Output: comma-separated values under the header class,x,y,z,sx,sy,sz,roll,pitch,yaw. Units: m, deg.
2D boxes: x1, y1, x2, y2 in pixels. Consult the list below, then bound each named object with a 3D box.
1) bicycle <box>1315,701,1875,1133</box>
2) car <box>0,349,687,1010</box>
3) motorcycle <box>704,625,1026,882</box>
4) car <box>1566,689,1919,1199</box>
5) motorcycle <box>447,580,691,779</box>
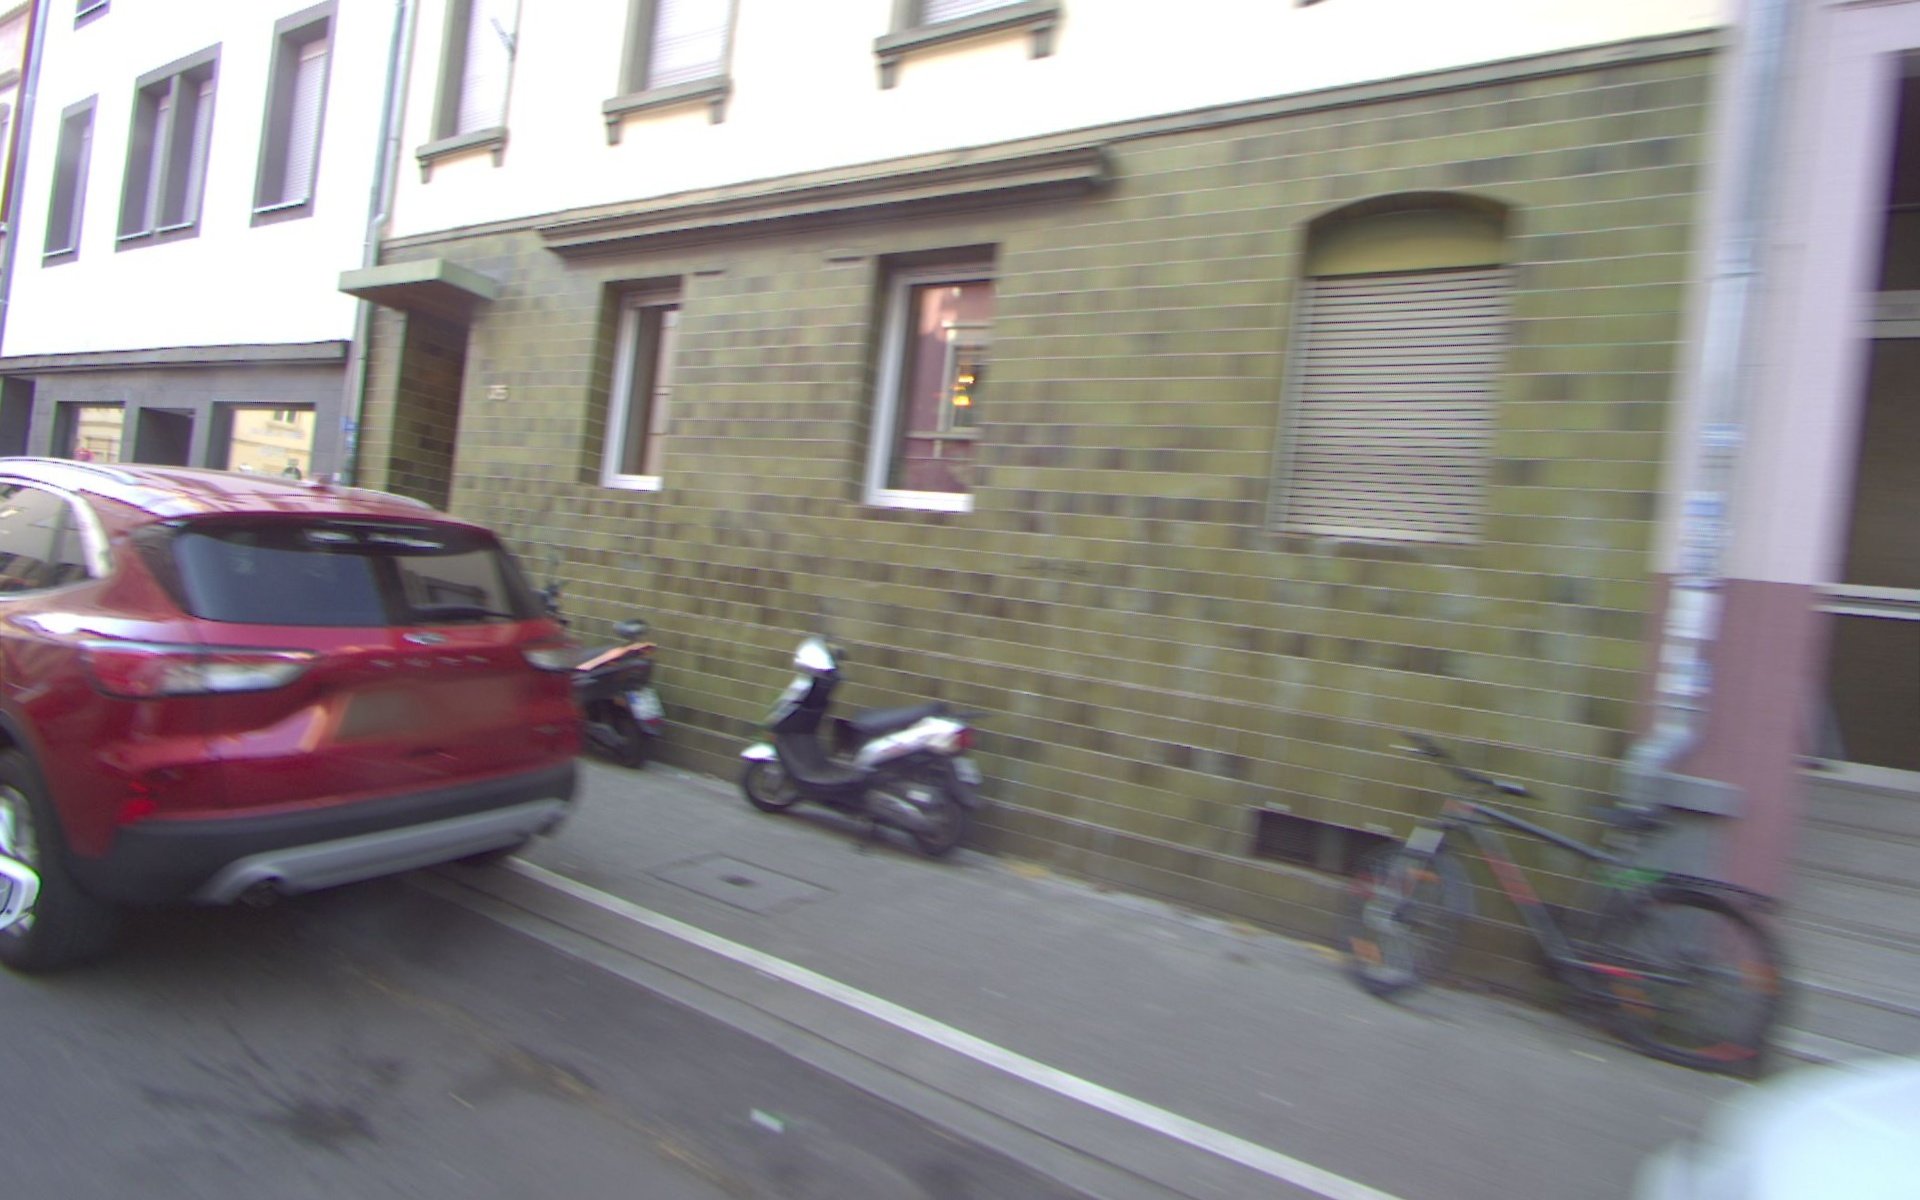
class,x,y,z,sx,sy,sz,roll,pitch,yaw
bicycle,2.376,1.112,3.968,1.657,1.187,0.522,6,-1,31
car,-3.558,0.062,4.546,4.293,1.727,1.921,7,0,31
motorcycle,-0.575,0.790,5.716,1.746,1.109,0.558,6,2,31
car,2.743,1.126,0.606,3.978,1.563,1.688,6,1,31
motorcycle,-2.766,0.505,7.035,1.847,1.109,0.501,6,2,31
